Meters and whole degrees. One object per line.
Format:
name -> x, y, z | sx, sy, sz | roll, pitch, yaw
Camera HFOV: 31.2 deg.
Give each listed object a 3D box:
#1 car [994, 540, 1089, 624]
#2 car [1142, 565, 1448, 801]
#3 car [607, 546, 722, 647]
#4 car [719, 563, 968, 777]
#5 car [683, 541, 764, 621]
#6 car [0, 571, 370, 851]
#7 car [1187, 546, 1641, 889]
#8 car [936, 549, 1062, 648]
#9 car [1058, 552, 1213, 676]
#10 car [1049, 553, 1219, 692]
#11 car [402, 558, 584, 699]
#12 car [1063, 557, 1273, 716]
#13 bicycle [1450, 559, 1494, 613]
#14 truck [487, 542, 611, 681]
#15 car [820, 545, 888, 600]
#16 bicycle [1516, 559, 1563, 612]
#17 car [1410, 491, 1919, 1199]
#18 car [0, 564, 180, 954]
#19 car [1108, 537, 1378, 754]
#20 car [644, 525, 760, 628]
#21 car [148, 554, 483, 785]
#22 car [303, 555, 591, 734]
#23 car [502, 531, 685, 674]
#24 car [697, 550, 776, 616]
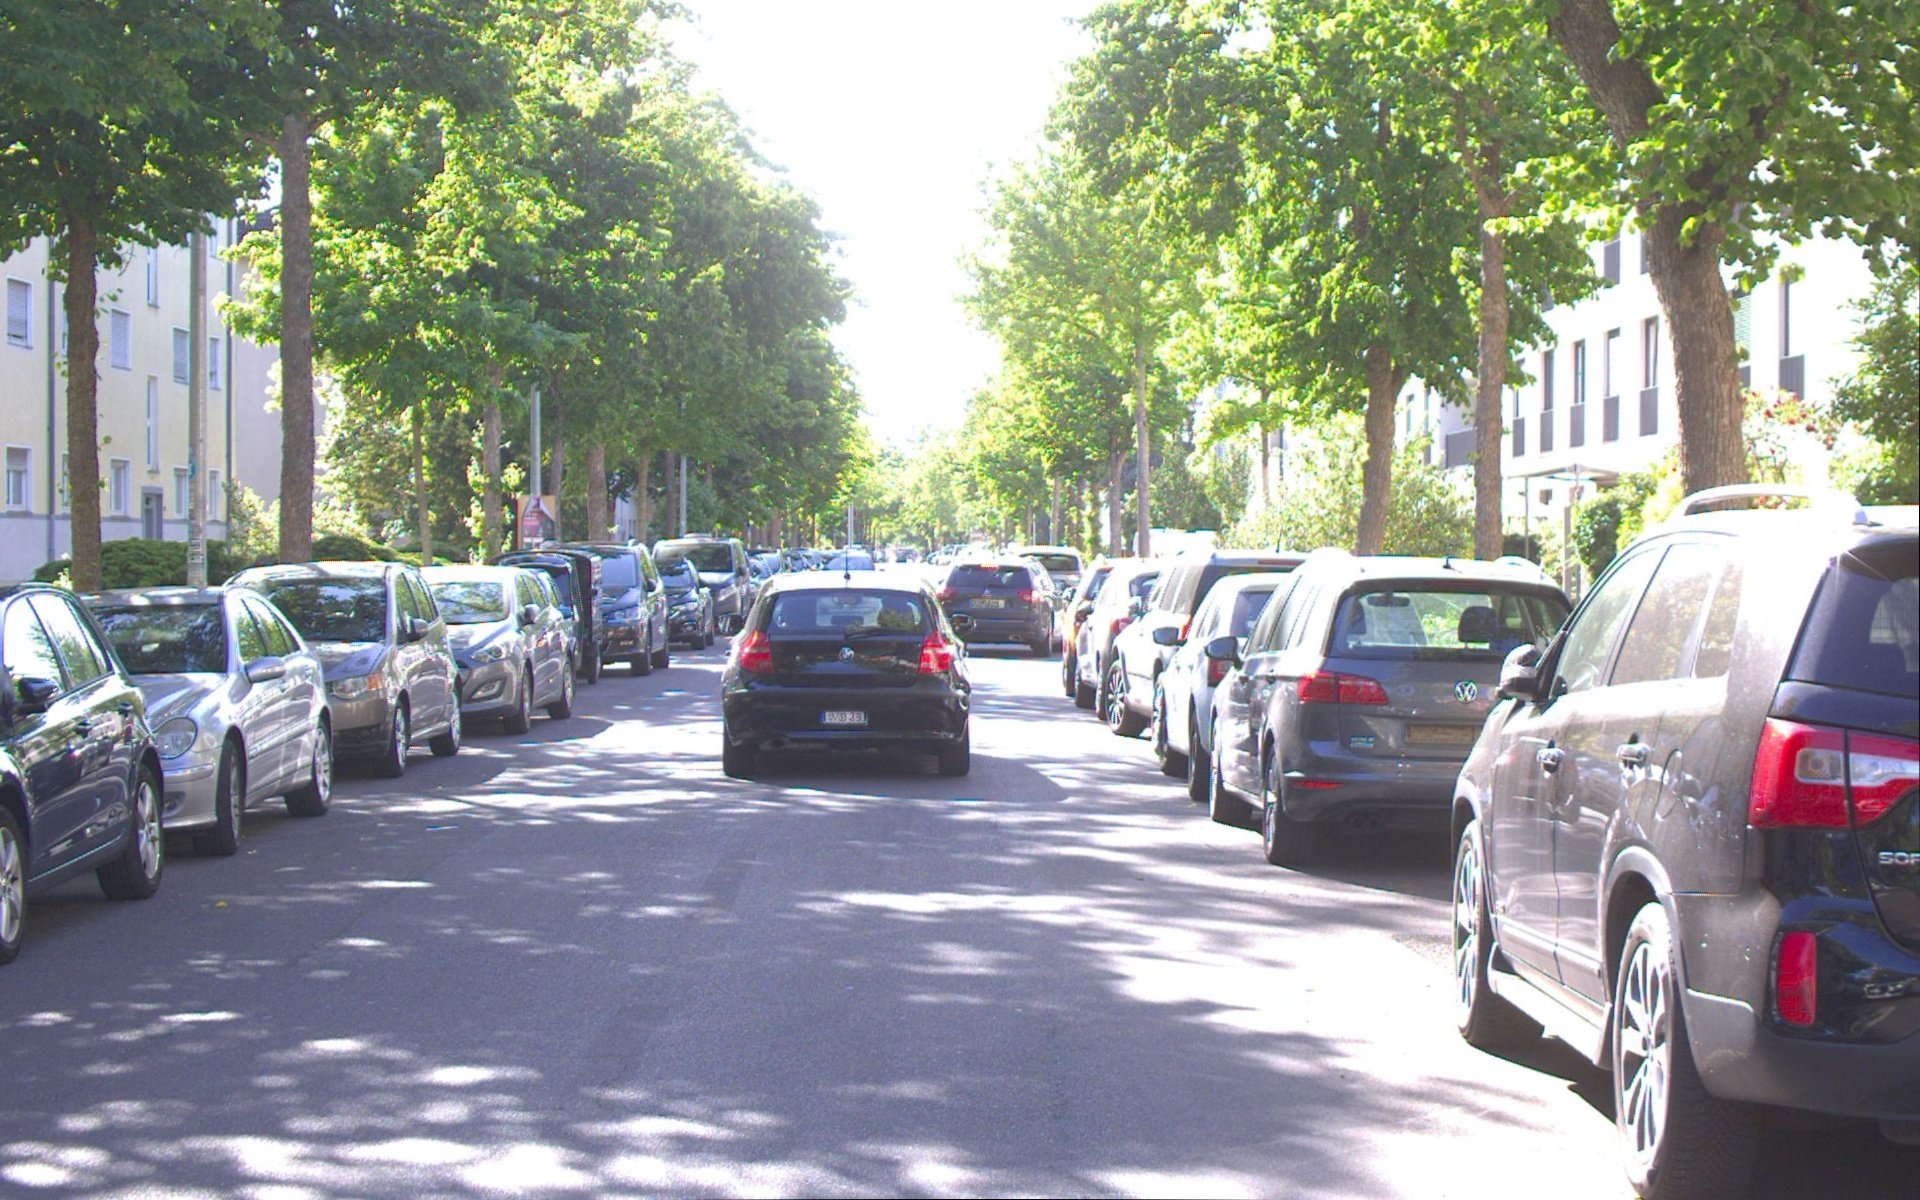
car -> 1.648, -0.372, 70.204 | 1.848, 1.625, 4.410 | 1, 0, 1
car -> 2.193, 0.491, 23.516 | 1.629, 1.420, 4.368 | -1, 1, 0
car -> -4.831, -0.090, 56.676 | 1.507, 1.543, 4.779 | -2, 1, -1
car -> -0.807, 0.450, 24.624 | 1.649, 1.392, 3.412 | 0, 1, -1
car -> -4.976, -0.423, 72.812 | 1.612, 1.606, 4.230 | -1, 1, -3
car -> -4.642, 0.545, 19.668 | 1.745, 1.364, 4.674 | -1, 1, 0
car -> 2.349, 0.535, 18.921 | 1.684, 1.582, 4.536 | 2, 1, -2
car -> 0.555, -0.050, 52.361 | 1.649, 1.421, 4.002 | 0, 1, -3
car -> 2.146, 0.134, 42.906 | 1.700, 1.444, 4.082 | 0, 1, 0
car -> 1.891, 0.212, 38.340 | 1.636, 1.450, 4.100 | 0, 1, -1
car -> -4.848, 0.257, 36.064 | 1.520, 1.390, 3.727 | 0, 1, -2
car -> 1.959, 0.307, 33.278 | 1.649, 1.423, 3.613 | 0, 1, -2
bicycle -> 10.257, -0.291, 68.896 | 0.546, 1.051, 1.692 | -1, 1, -3
truck -> -4.776, 0.107, 40.088 | 1.084, 1.572, 2.432 | 0, 1, 2
car -> -2.797, -0.741, 91.338 | 1.505, 1.421, 3.177 | 0, 1, 4
bicycle -> 11.620, -0.294, 68.940 | 0.546, 1.051, 1.780 | -1, 1, -3
car -> 2.474, 0.567, 9.659 | 1.780, 1.692, 4.298 | 0, 1, -1
car -> -4.492, 0.598, 14.191 | 1.665, 1.454, 3.933 | 0, 1, 0
car -> 2.244, 0.316, 28.159 | 1.648, 1.650, 3.848 | 0, 1, -4
car -> -5.000, -0.486, 67.134 | 1.826, 1.898, 5.142 | -1, 1, 0
car -> -4.697, 0.447, 25.606 | 1.620, 1.510, 4.269 | -2, 1, 0
car -> -4.560, 0.345, 31.221 | 1.792, 1.439, 4.688 | -1, 1, 1
car -> -4.704, -0.015, 44.719 | 1.849, 1.675, 4.977 | -2, 1, -1
car -> -5.058, -0.407, 78.122 | 1.612, 1.422, 4.058 | -1, 1, -1
